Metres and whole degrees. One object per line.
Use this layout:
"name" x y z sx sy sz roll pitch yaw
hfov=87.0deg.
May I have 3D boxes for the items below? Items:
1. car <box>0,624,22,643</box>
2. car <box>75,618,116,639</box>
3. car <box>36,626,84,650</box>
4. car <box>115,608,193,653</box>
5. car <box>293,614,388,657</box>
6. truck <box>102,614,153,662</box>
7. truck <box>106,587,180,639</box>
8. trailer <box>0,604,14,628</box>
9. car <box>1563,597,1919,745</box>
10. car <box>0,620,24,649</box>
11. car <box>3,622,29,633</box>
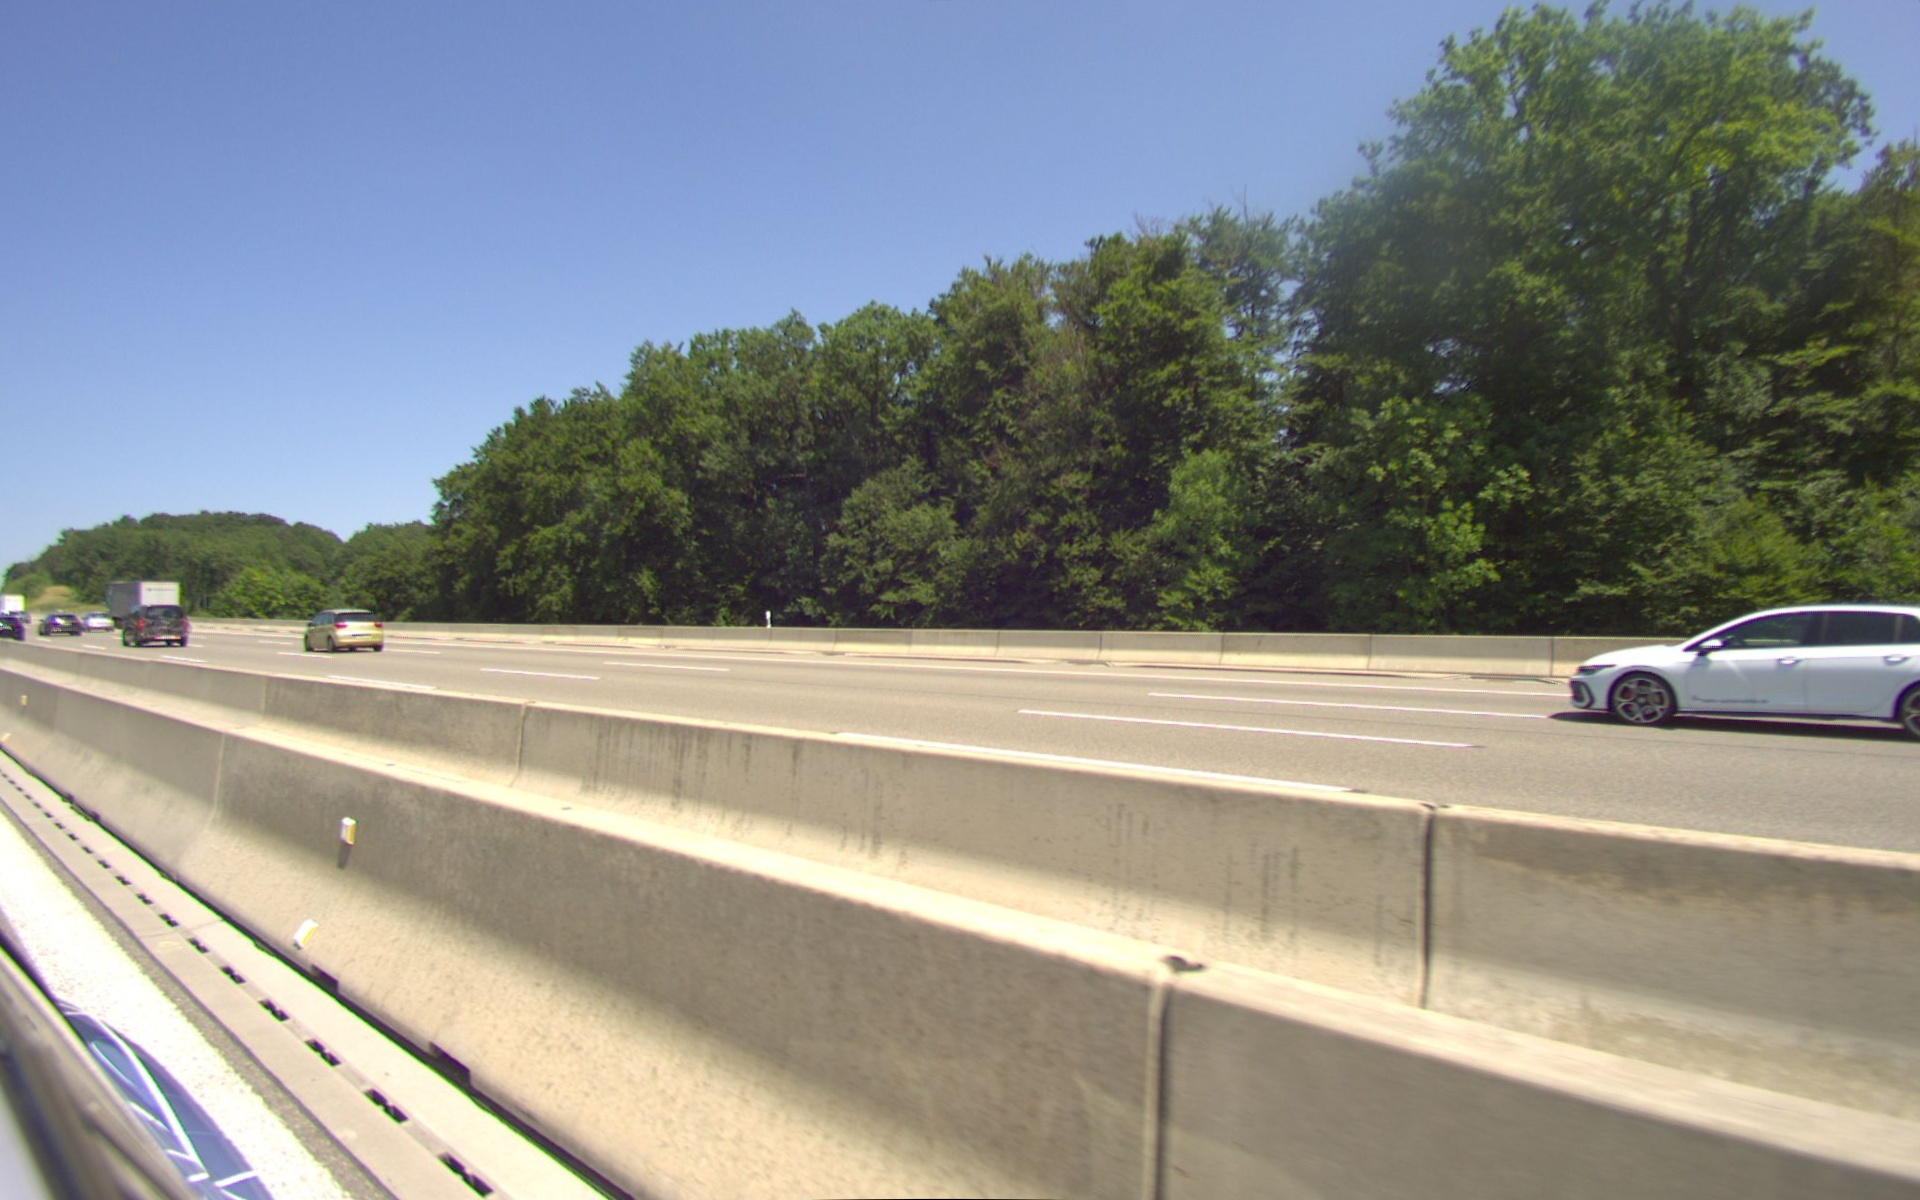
"car" -85.972 2.997 91.067 4.775 1.573 1.812 -1 -2 42
"car" -66.507 2.179 77.839 4.134 1.546 1.853 -1 -1 41
"car" -59.775 2.480 67.180 5.110 1.487 1.853 -1 -1 42
"car" -37.201 1.380 46.631 5.772 1.954 1.853 -1 -1 42
"car" -24.081 1.321 39.268 4.811 1.546 1.853 -1 -1 41
"truck" -73.373 3.296 89.168 5.508 4.056 2.630 -1 -1 42
"truck" -68.664 1.112 84.857 14.295 4.056 2.661 -1 -1 42
"trailer" -174.171 2.923 183.611 14.361 4.257 2.613 -1 -1 43
"car" 9.924 0.740 11.699 4.811 1.491 1.853 -1 1 41
"car" -52.744 1.870 55.564 4.504 1.480 1.584 -1 -1 41
"car" -111.296 3.240 119.270 4.728 1.311 1.812 -1 -1 42
